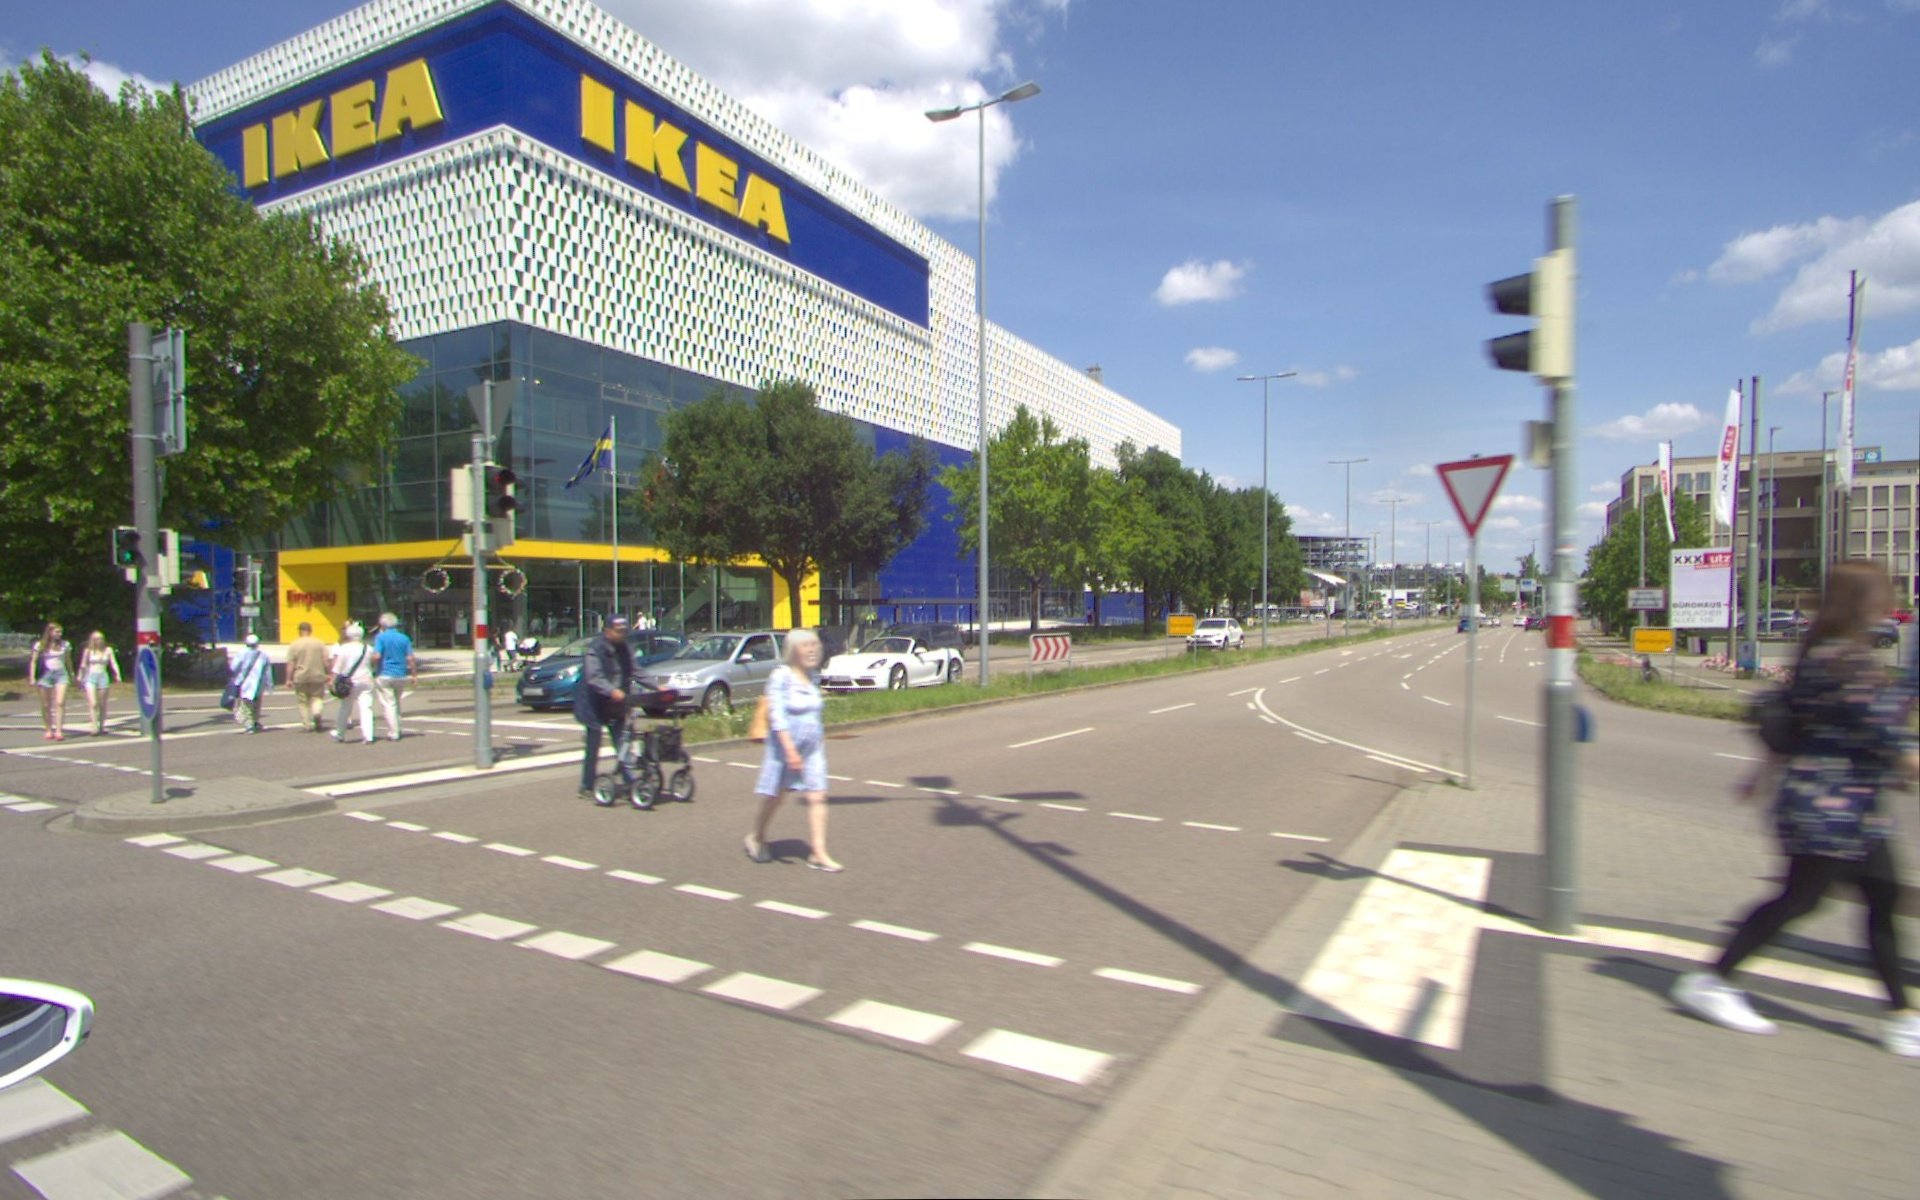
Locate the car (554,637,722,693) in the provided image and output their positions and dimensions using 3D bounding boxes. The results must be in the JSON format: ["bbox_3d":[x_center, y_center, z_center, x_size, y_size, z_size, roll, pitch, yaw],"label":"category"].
[{"bbox_3d":[-8.943,1.768,28.094,1.711,1.436,4.291,-2,-2,39],"label":"car"}]

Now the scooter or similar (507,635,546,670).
[{"bbox_3d":[-15.684,1.899,36.234,0.717,1.213,1.073,0,-1,26],"label":"scooter or similar"}]

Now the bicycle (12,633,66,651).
[{"bbox_3d":[-51.432,2.328,55.917,0.854,0.981,2.060,0,-1,24],"label":"bicycle"}]

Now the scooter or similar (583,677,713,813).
[{"bbox_3d":[-2.676,1.208,8.596,0.851,1.044,0.688,-1,-1,34],"label":"scooter or similar"}]

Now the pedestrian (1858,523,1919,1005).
[{"bbox_3d":[4.276,0.644,4.072,0.786,1.889,0.802,-1,-1,32],"label":"pedestrian"}]

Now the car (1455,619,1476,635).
[{"bbox_3d":[51.671,2.788,102.312,1.734,1.632,3.534,-1,-1,29],"label":"car"}]

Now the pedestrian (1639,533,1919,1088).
[{"bbox_3d":[3.095,0.686,3.632,0.782,1.782,0.806,0,-1,11],"label":"pedestrian"}]

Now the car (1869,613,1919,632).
[{"bbox_3d":[85.573,2.054,91.041,3.940,1.750,1.731,-1,-2,30],"label":"car"}]

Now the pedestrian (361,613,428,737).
[{"bbox_3d":[-7.896,1.031,13.981,0.855,1.658,0.599,-2,-2,45],"label":"pedestrian"}]

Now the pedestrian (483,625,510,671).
[{"bbox_3d":[-16.542,1.699,35.727,0.623,1.607,0.610,0,0,23],"label":"pedestrian"}]

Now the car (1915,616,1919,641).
[{"bbox_3d":[80.564,2.310,81.360,3.941,2.040,1.991,-1,-1,31],"label":"car"}]

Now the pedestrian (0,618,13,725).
[{"bbox_3d":[-15.690,1.143,16.128,0.619,1.705,0.719,0,-1,-44],"label":"pedestrian"}]

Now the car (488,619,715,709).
[{"bbox_3d":[-6.910,1.188,19.738,1.968,1.575,3.987,-1,-2,26],"label":"car"}]

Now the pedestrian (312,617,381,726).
[{"bbox_3d":[-9.903,1.126,16.157,0.843,1.680,0.790,-1,-1,45],"label":"pedestrian"}]

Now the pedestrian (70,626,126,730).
[{"bbox_3d":[-13.599,1.217,15.800,0.603,1.600,0.526,0,-1,32],"label":"pedestrian"}]

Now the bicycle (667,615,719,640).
[{"bbox_3d":[-13.193,1.337,49.502,2.388,1.214,0.801,0,0,15],"label":"bicycle"}]

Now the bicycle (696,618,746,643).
[{"bbox_3d":[-12.120,1.540,50.862,2.388,1.214,0.801,0,0,15],"label":"bicycle"}]

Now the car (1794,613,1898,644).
[{"bbox_3d":[50.839,1.628,57.562,4.059,1.705,1.993,-1,-1,27],"label":"car"}]

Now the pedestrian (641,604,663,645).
[{"bbox_3d":[-15.560,1.218,50.572,0.723,2.040,0.794,0,0,36],"label":"pedestrian"}]

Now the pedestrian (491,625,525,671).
[{"bbox_3d":[-15.992,1.686,35.434,0.623,1.607,0.918,0,0,23],"label":"pedestrian"}]

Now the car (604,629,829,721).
[{"bbox_3d":[-4.197,1.241,17.806,1.776,1.415,3.820,-1,-1,30],"label":"car"}]

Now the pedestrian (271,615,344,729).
[{"bbox_3d":[-10.027,1.079,15.388,0.843,1.680,0.790,-1,-1,45],"label":"pedestrian"}]

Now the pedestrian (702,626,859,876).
[{"bbox_3d":[-1.141,0.916,6.413,0.793,1.494,0.590,0,-1,23],"label":"pedestrian"}]

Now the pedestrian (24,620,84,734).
[{"bbox_3d":[-13.740,1.151,15.181,0.631,1.687,0.526,0,-1,32],"label":"pedestrian"}]

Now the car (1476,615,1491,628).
[{"bbox_3d":[68.617,2.856,131.235,1.734,1.632,3.534,-1,-1,29],"label":"car"}]

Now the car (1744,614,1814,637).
[{"bbox_3d":[62.353,1.976,76.306,3.944,1.705,1.989,-1,-1,33],"label":"car"}]

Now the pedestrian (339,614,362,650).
[{"bbox_3d":[-29.752,1.543,48.849,0.732,1.758,0.777,0,0,40],"label":"pedestrian"}]

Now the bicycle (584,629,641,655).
[{"bbox_3d":[-15.679,1.892,45.235,2.388,1.160,0.802,0,0,15],"label":"bicycle"}]

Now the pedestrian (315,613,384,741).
[{"bbox_3d":[-8.244,1.015,13.510,0.855,1.658,0.602,-2,-2,45],"label":"pedestrian"}]

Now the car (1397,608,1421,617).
[{"bbox_3d":[84.458,2.413,188.370,3.622,1.632,1.800,0,-1,4],"label":"car"}]

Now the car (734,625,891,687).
[{"bbox_3d":[-3.695,1.375,25.907,1.824,1.461,4.399,-1,-2,27],"label":"car"}]

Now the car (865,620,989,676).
[{"bbox_3d":[-0.932,1.431,30.787,1.835,1.604,4.397,-1,-2,29],"label":"car"}]

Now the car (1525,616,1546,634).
[{"bbox_3d":[65.550,2.888,114.123,1.970,2.039,3.983,-1,-1,29],"label":"car"}]

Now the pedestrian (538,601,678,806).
[{"bbox_3d":[-3.121,0.872,8.897,0.934,1.694,0.780,-1,-1,35],"label":"pedestrian"}]

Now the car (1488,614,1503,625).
[{"bbox_3d":[75.568,2.760,141.323,1.734,1.632,3.534,-1,-1,29],"label":"car"}]

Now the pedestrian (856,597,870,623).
[{"bbox_3d":[-5.972,0.621,61.799,0.570,1.607,0.766,0,0,23],"label":"pedestrian"}]

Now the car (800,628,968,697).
[{"bbox_3d":[-1.618,1.371,22.741,1.776,1.416,4.216,-1,-2,29],"label":"car"}]

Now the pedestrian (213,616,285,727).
[{"bbox_3d":[-11.160,1.095,15.720,0.843,1.680,0.790,-1,-1,45],"label":"pedestrian"}]

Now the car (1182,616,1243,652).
[{"bbox_3d":[12.506,1.636,49.416,1.970,1.661,4.064,0,-1,29],"label":"car"}]

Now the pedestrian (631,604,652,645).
[{"bbox_3d":[-16.285,1.242,51.166,0.724,2.040,0.793,0,0,40],"label":"pedestrian"}]
